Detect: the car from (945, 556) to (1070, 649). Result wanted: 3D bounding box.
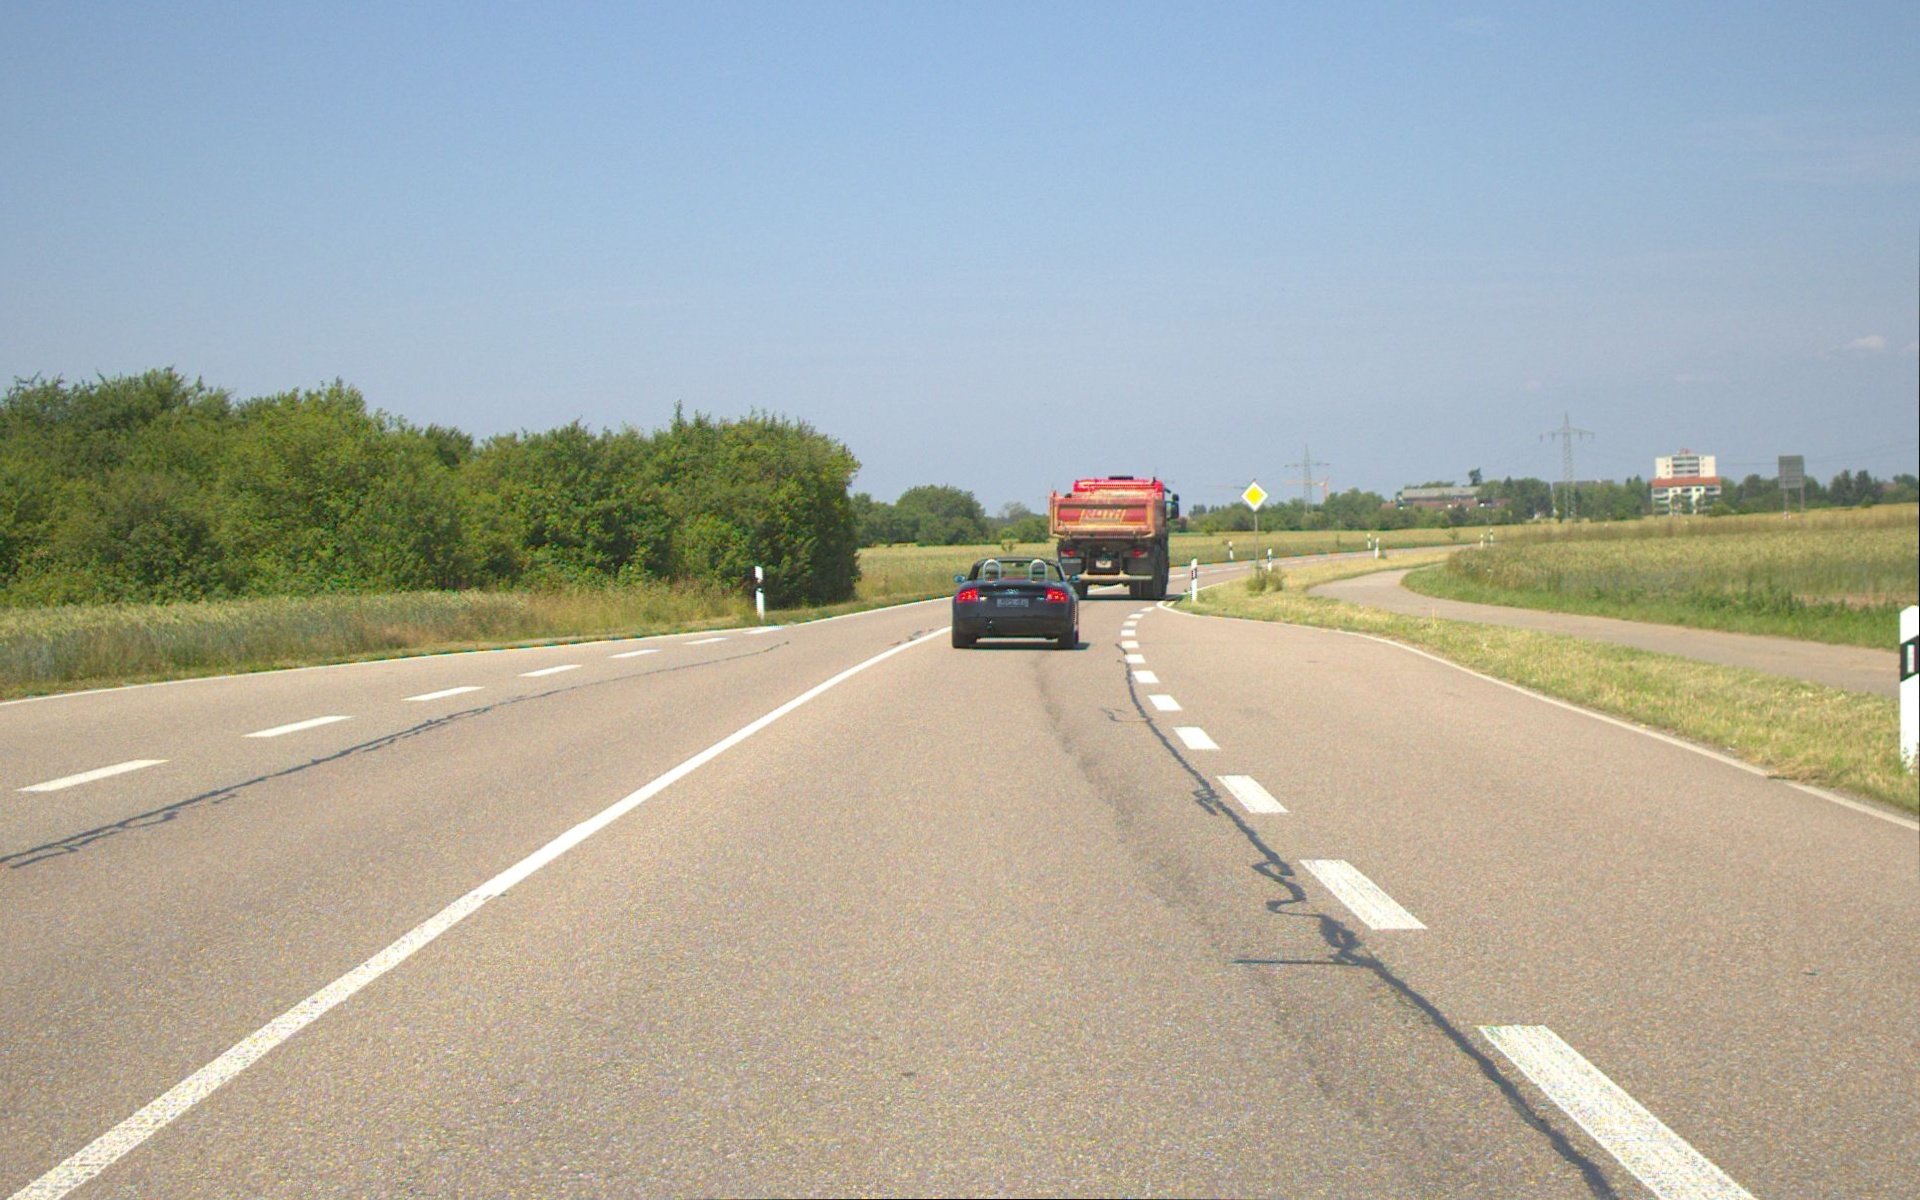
[{"bbox_3d":[0.655,0.008,49.787,1.744,1.275,4.000,0,1,0],"label":"car"}]

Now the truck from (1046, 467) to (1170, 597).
[{"bbox_3d":[3.706,-1.683,86.142,2.938,3.078,7.196,-1,1,3],"label":"truck"}]
